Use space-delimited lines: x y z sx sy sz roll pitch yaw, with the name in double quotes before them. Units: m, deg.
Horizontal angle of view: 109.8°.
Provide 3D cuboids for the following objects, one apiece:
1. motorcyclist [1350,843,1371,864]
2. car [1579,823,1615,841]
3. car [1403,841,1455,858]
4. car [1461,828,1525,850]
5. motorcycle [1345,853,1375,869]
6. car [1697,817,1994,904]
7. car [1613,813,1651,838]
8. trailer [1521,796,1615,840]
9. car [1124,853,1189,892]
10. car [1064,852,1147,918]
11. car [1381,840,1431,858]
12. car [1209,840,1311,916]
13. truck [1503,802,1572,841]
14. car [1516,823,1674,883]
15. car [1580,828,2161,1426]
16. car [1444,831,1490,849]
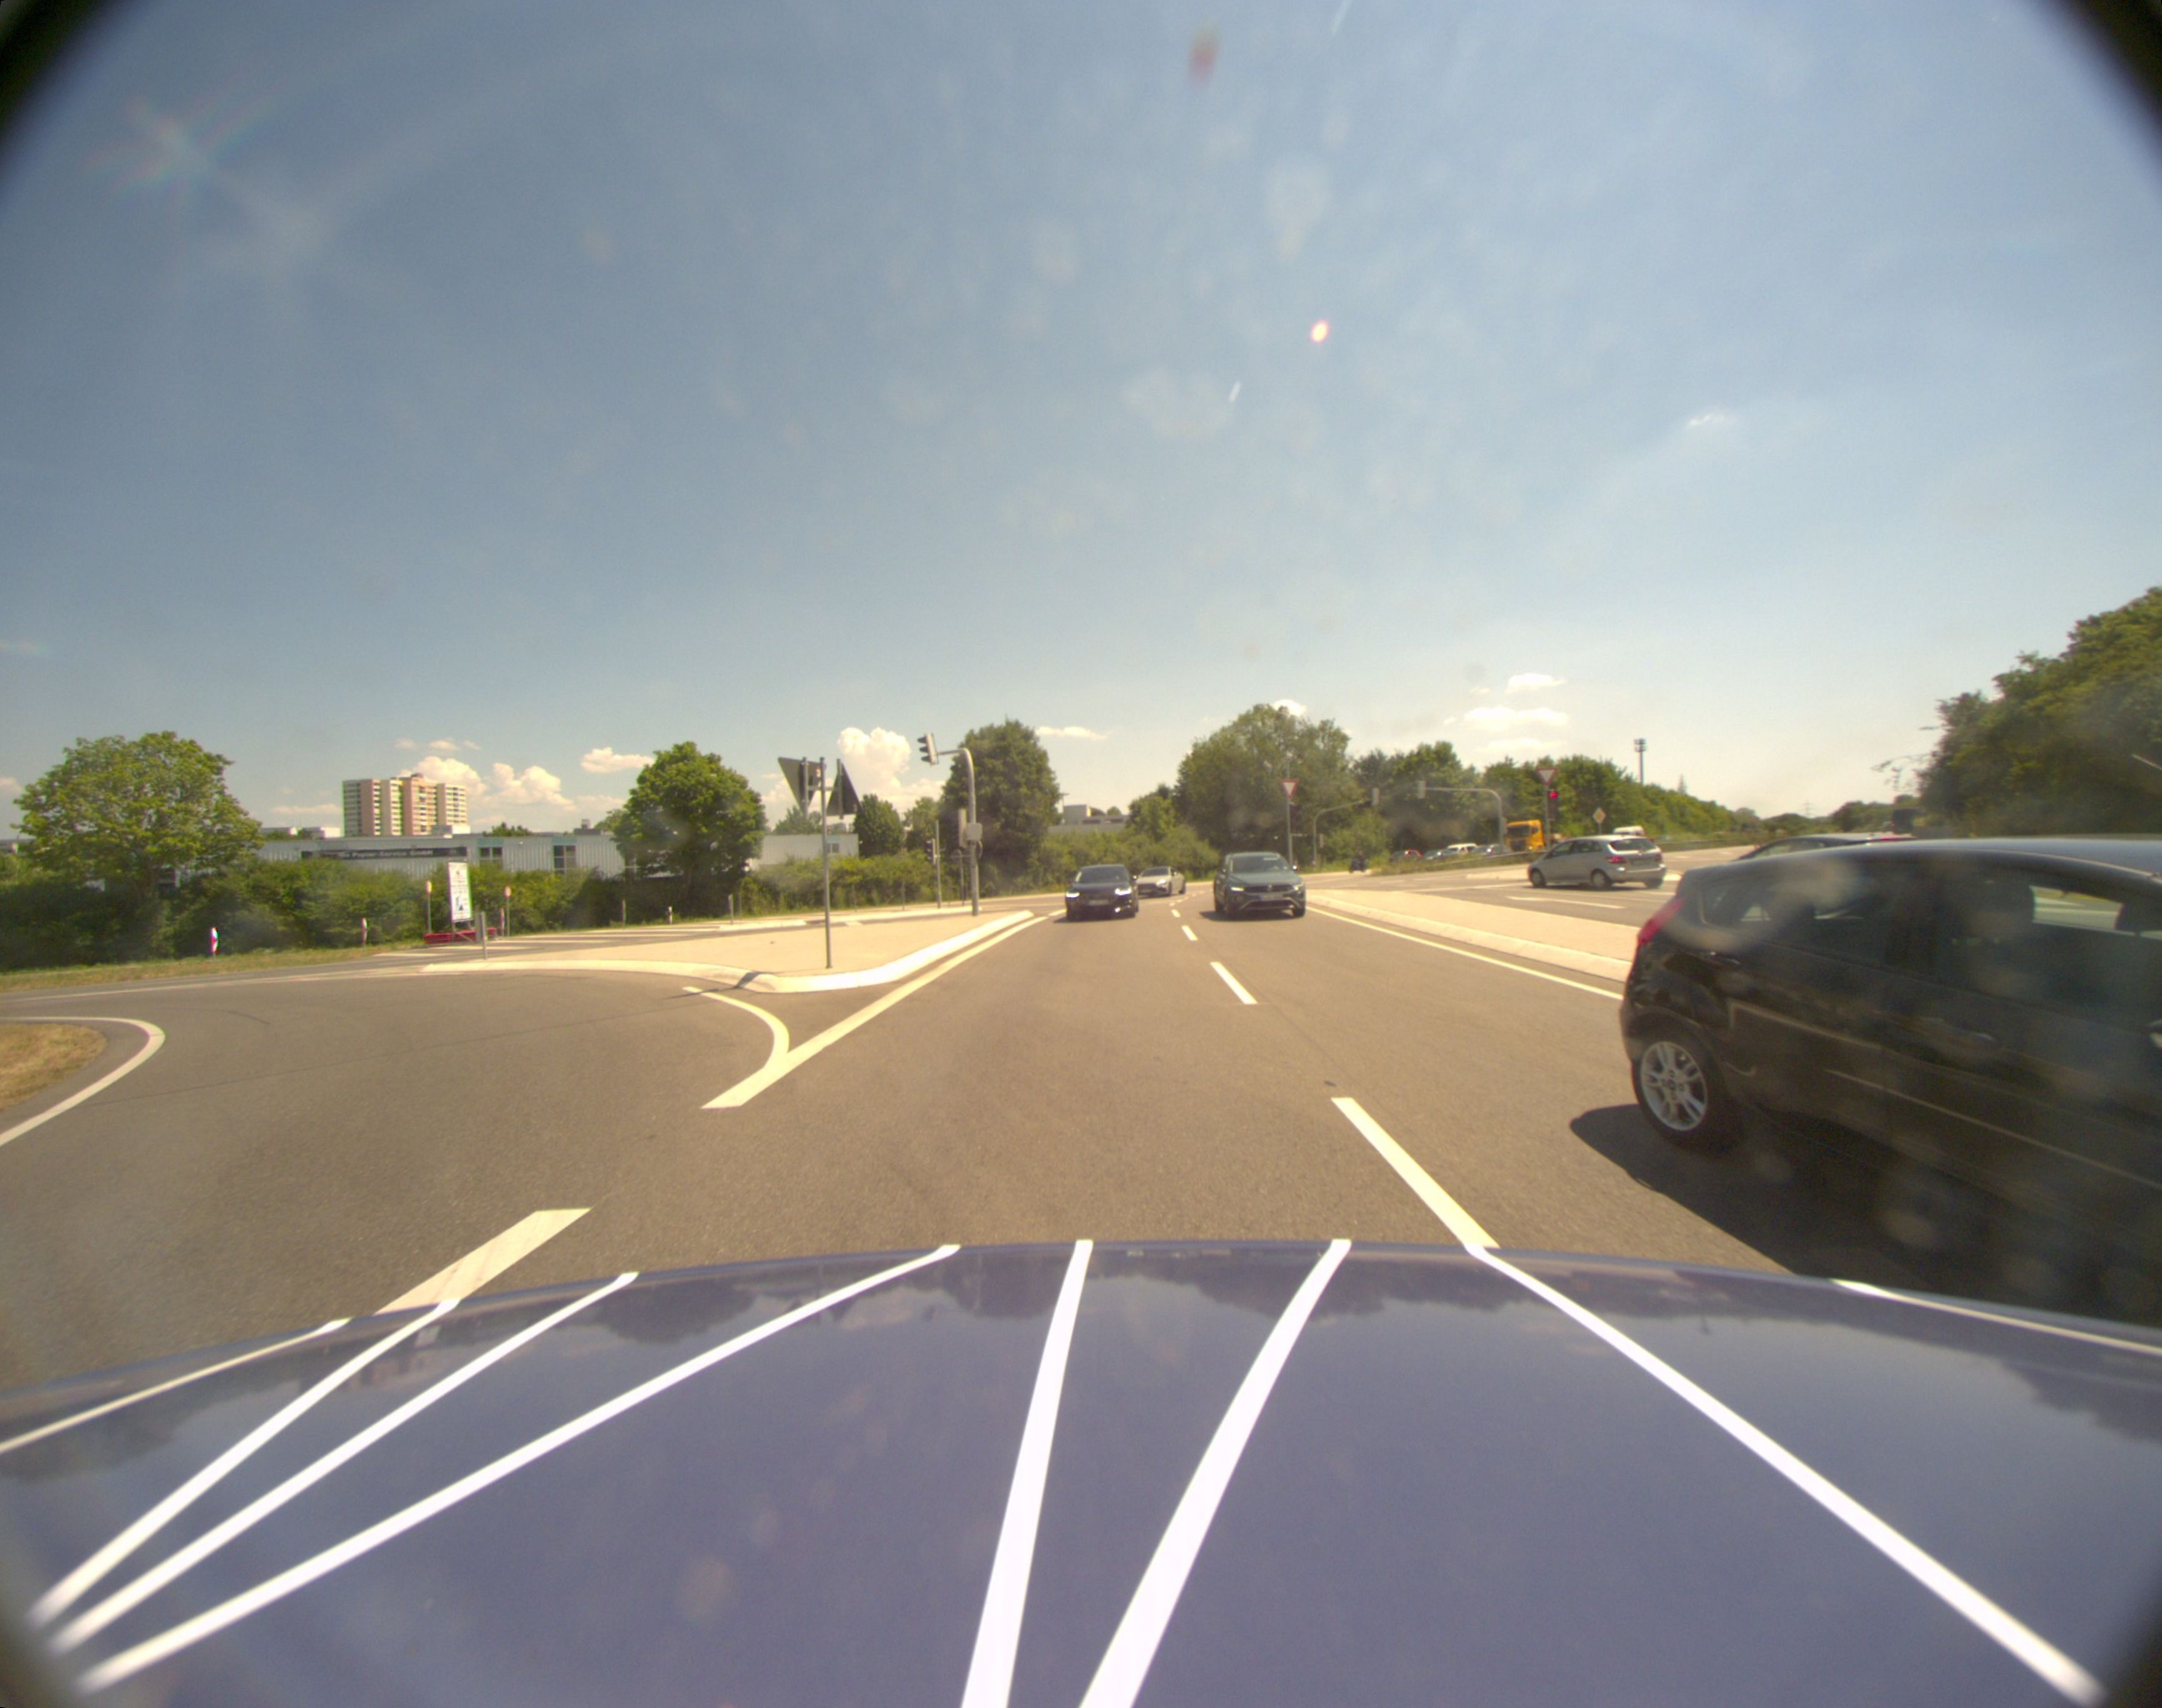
"motorcyclist" 20.465 -0.050 55.595 1.163 1.480 0.859 -1 2 -21
"car" 57.088 -2.417 84.011 3.939 1.679 2.164 -4 1 -39
"car" 30.199 -0.406 65.927 4.004 1.182 1.996 -4 0 -25
"car" 31.409 -1.171 57.945 4.456 1.582 2.114 -2 2 -27
"motorcycle" 20.395 0.497 55.605 2.075 1.132 0.733 0 1 -20
"car" 15.294 0.098 15.625 1.998 1.430 4.223 -3 0 4
"car" 62.816 -3.303 86.572 5.490 2.592 2.164 -4 1 -39
"trailer" 49.707 -3.728 77.333 13.193 4.039 3.066 -3 1 -34
"car" 3.708 0.870 36.493 1.931 1.577 4.185 -3 0 21
"car" 0.793 0.808 20.957 1.779 1.497 4.564 -4 -1 7
"car" 29.533 -0.437 69.020 4.004 1.444 1.996 -3 0 -25
"car" 4.319 0.578 18.978 1.838 1.577 4.394 -4 -1 6
"truck" 44.321 -3.169 73.693 6.867 3.517 2.979 -3 1 -33
"car" 15.667 -0.036 23.478 1.613 1.590 4.352 -4 0 -4
"car" 3.544 0.676 2.102 1.657 1.485 4.207 -2 1 2
"car" 37.480 -1.362 73.801 4.004 1.444 1.778 -4 1 -25
